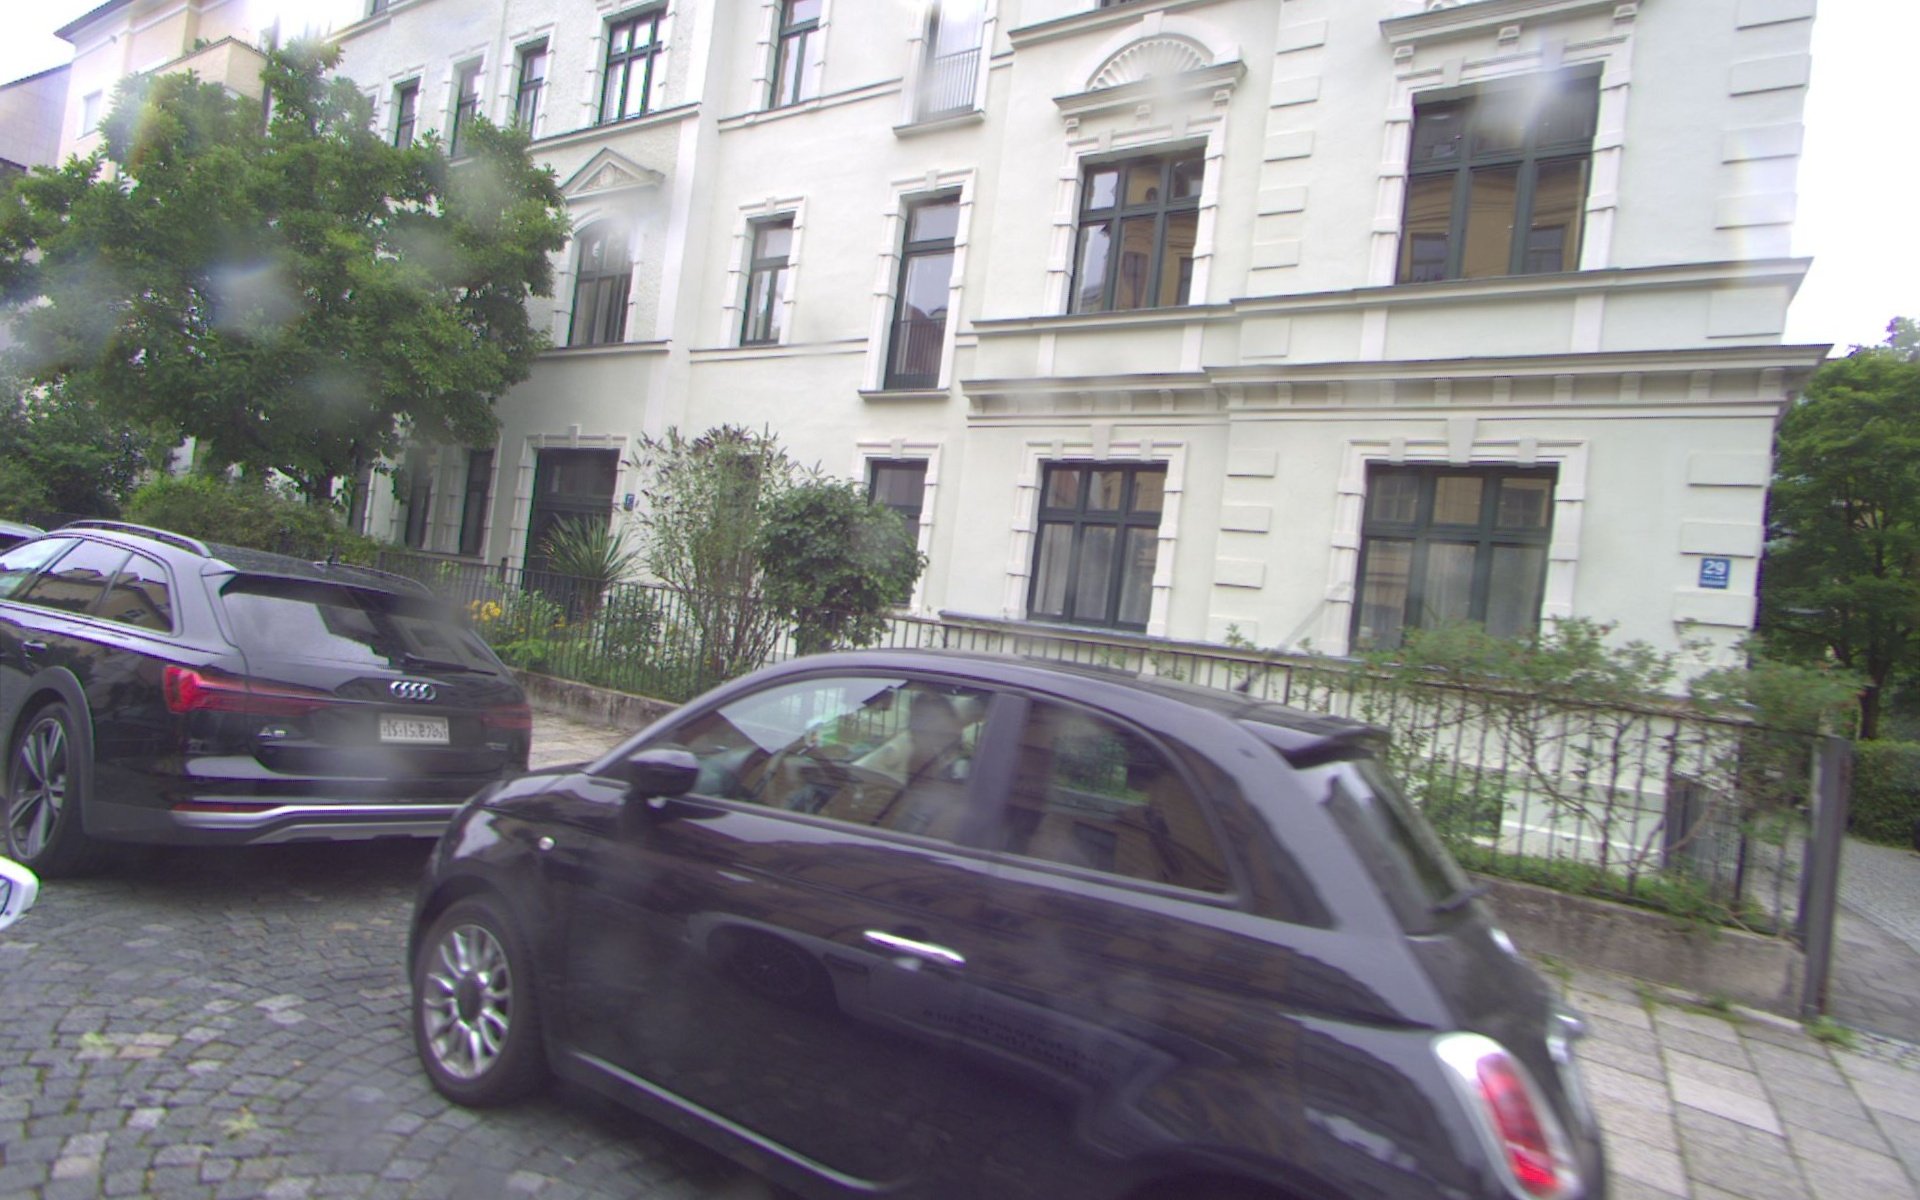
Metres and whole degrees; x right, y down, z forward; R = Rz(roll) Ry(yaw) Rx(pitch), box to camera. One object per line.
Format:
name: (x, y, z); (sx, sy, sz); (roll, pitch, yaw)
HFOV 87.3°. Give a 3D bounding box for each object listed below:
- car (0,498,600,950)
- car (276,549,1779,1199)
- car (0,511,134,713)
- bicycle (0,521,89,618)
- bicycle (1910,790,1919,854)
car: (-4.540, 0.373, 5.646); (5.022, 1.518, 1.911); (6, -5, 33)
car: (-0.110, 0.877, 2.998); (3.625, 1.523, 1.673); (6, -5, 32)
car: (-9.190, -0.140, 8.678); (4.407, 1.474, 1.761); (6, -5, 33)
bicycle: (-13.290, -0.468, 14.234); (1.617, 1.208, 0.582); (7, -2, 18)
bicycle: (17.107, 3.839, 16.721); (1.780, 1.021, 0.575); (4, -1, 35)
